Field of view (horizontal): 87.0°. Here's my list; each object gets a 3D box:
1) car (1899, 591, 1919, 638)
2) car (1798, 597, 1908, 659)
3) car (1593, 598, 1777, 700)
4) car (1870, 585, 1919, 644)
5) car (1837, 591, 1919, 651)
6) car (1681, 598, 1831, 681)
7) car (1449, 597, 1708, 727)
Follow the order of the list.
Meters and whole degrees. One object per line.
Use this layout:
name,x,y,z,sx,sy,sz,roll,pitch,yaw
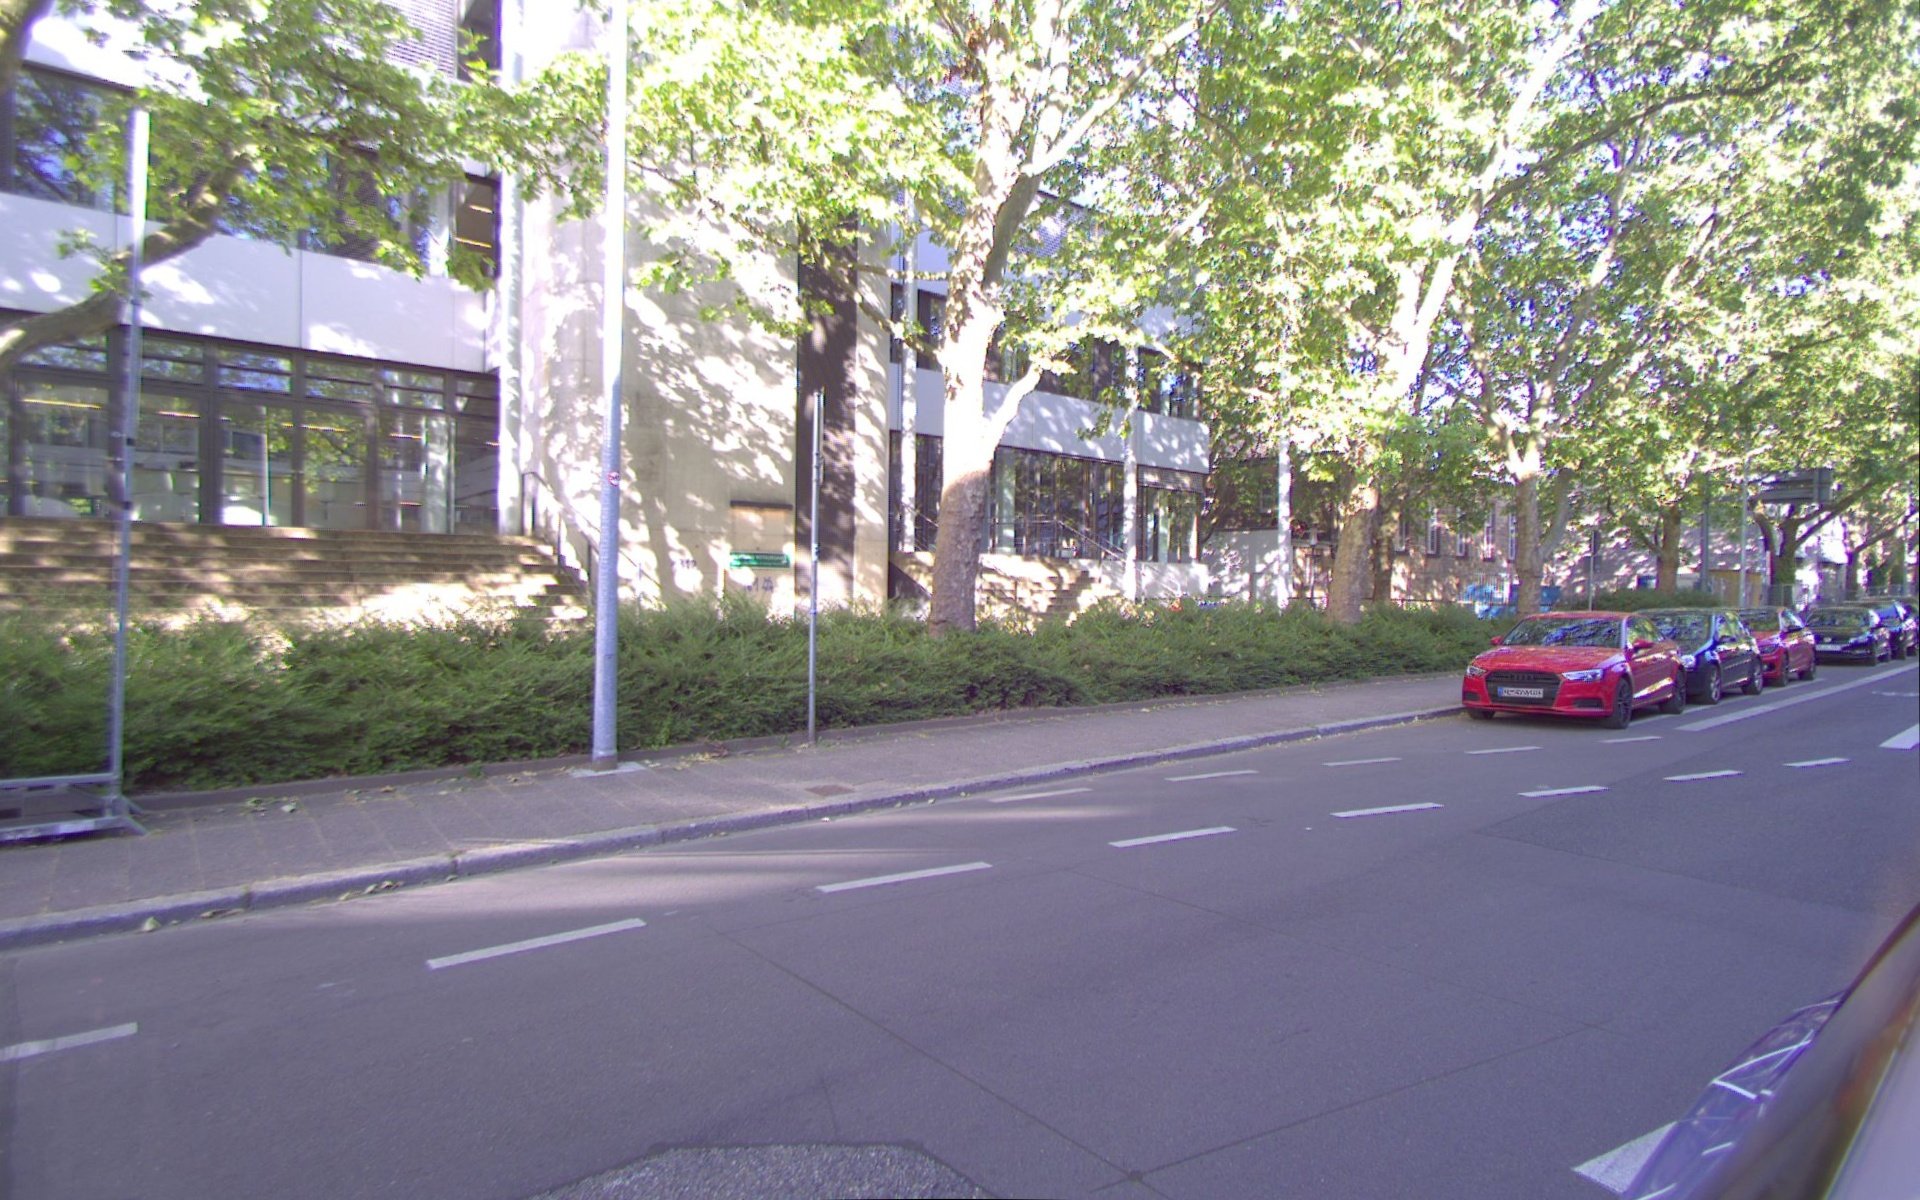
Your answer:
car,35.968,0.510,37.262,3.777,1.675,1.634,0,-1,-41
car,22.985,0.682,26.024,3.674,1.483,1.634,0,-1,-41
car,11.910,0.722,16.548,3.674,1.483,1.634,0,-1,-41
car,31.038,0.457,32.947,3.777,1.828,1.634,0,-1,-41
car,26.588,0.568,29.023,3.777,1.607,1.634,0,-1,-41
car,15.730,0.712,19.943,3.674,1.483,1.634,0,-1,-41
car,8.372,0.713,13.568,4.053,1.483,1.802,0,-1,-41
